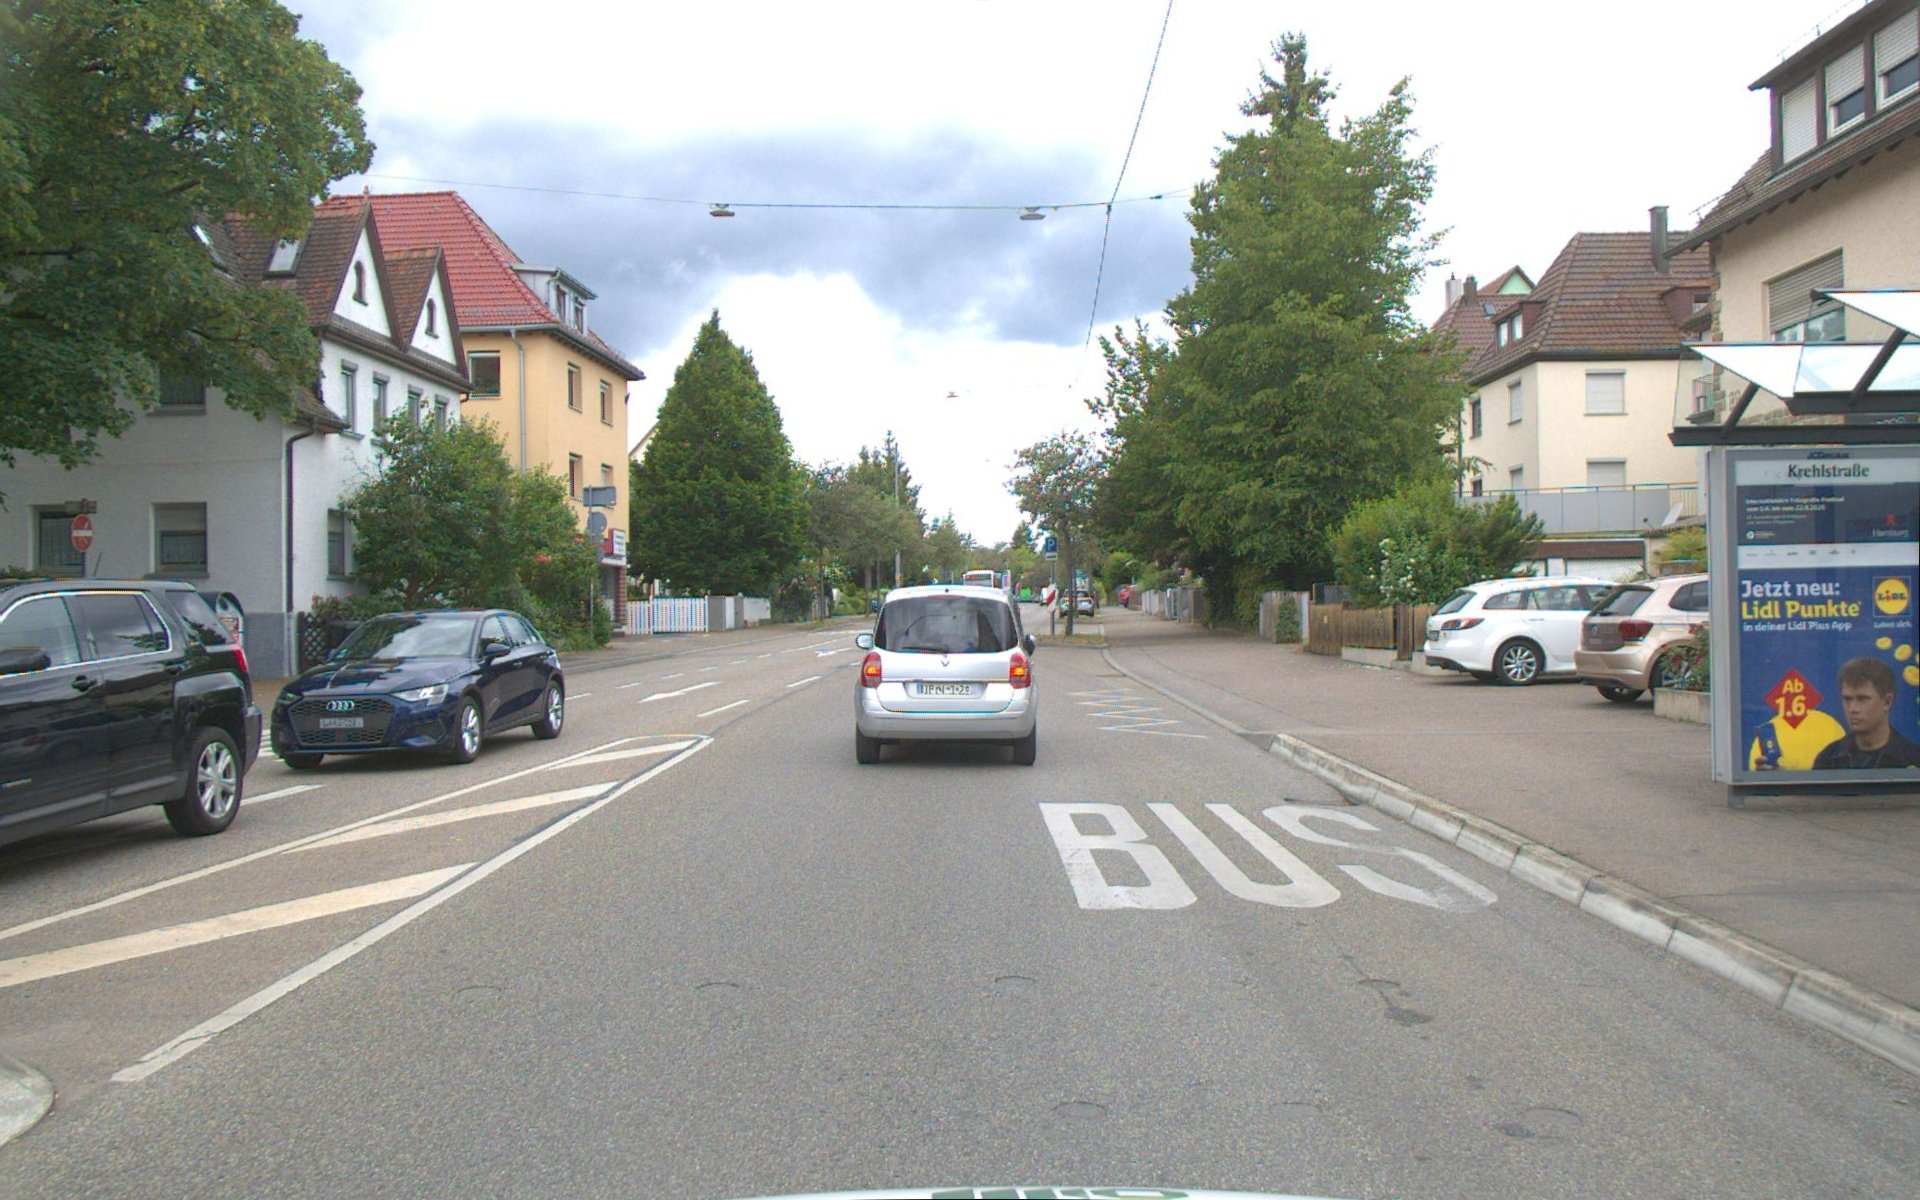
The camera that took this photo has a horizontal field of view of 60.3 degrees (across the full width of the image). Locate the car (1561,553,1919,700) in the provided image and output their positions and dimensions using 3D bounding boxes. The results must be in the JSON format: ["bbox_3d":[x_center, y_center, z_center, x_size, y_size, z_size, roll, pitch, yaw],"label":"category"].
[{"bbox_3d":[9.030,0.286,18.816,3.726,1.426,1.640,-3,-1,-2],"label":"car"}]

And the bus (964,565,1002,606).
[{"bbox_3d":[1.926,-1.163,136.114,2.577,3.139,12.074,-3,0,3],"label":"bus"}]

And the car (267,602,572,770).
[{"bbox_3d":[-5.254,0.789,16.648,1.531,1.445,4.132,-1,-1,3],"label":"car"}]

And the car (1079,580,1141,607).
[{"bbox_3d":[10.246,-0.434,113.477,3.910,1.522,1.808,-4,0,-4],"label":"car"}]

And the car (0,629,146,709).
[{"bbox_3d":[-17.862,1.350,31.384,3.905,1.355,1.722,-3,-1,2],"label":"car"}]

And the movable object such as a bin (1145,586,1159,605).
[{"bbox_3d":[11.391,-0.273,97.927,0.760,1.123,0.692,-2,0,3],"label":"movable object such as a bin"}]

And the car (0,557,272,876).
[{"bbox_3d":[-5.850,0.663,9.354,1.721,1.663,4.596,-3,-1,3],"label":"car"}]

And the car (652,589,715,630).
[{"bbox_3d":[-11.701,0.371,70.197,1.769,1.591,4.618,-3,1,0],"label":"car"}]

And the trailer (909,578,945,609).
[{"bbox_3d":[-2.375,-0.443,120.499,2.264,2.123,5.874,0,-1,3],"label":"trailer"}]

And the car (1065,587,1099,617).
[{"bbox_3d":[5.990,0.133,81.293,1.615,1.406,4.002,-1,-1,5],"label":"car"}]

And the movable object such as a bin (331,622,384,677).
[{"bbox_3d":[-11.959,0.974,32.818,0.706,1.037,0.720,2,2,36],"label":"movable object such as a bin"}]

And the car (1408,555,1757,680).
[{"bbox_3d":[8.937,0.258,24.034,4.328,1.514,1.865,-3,-1,2],"label":"car"}]

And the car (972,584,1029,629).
[{"bbox_3d":[1.641,0.235,65.634,1.790,1.705,3.577,-1,0,9],"label":"car"}]

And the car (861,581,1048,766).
[{"bbox_3d":[-0.070,0.654,16.179,1.597,1.584,3.999,0,-1,-1],"label":"car"}]
